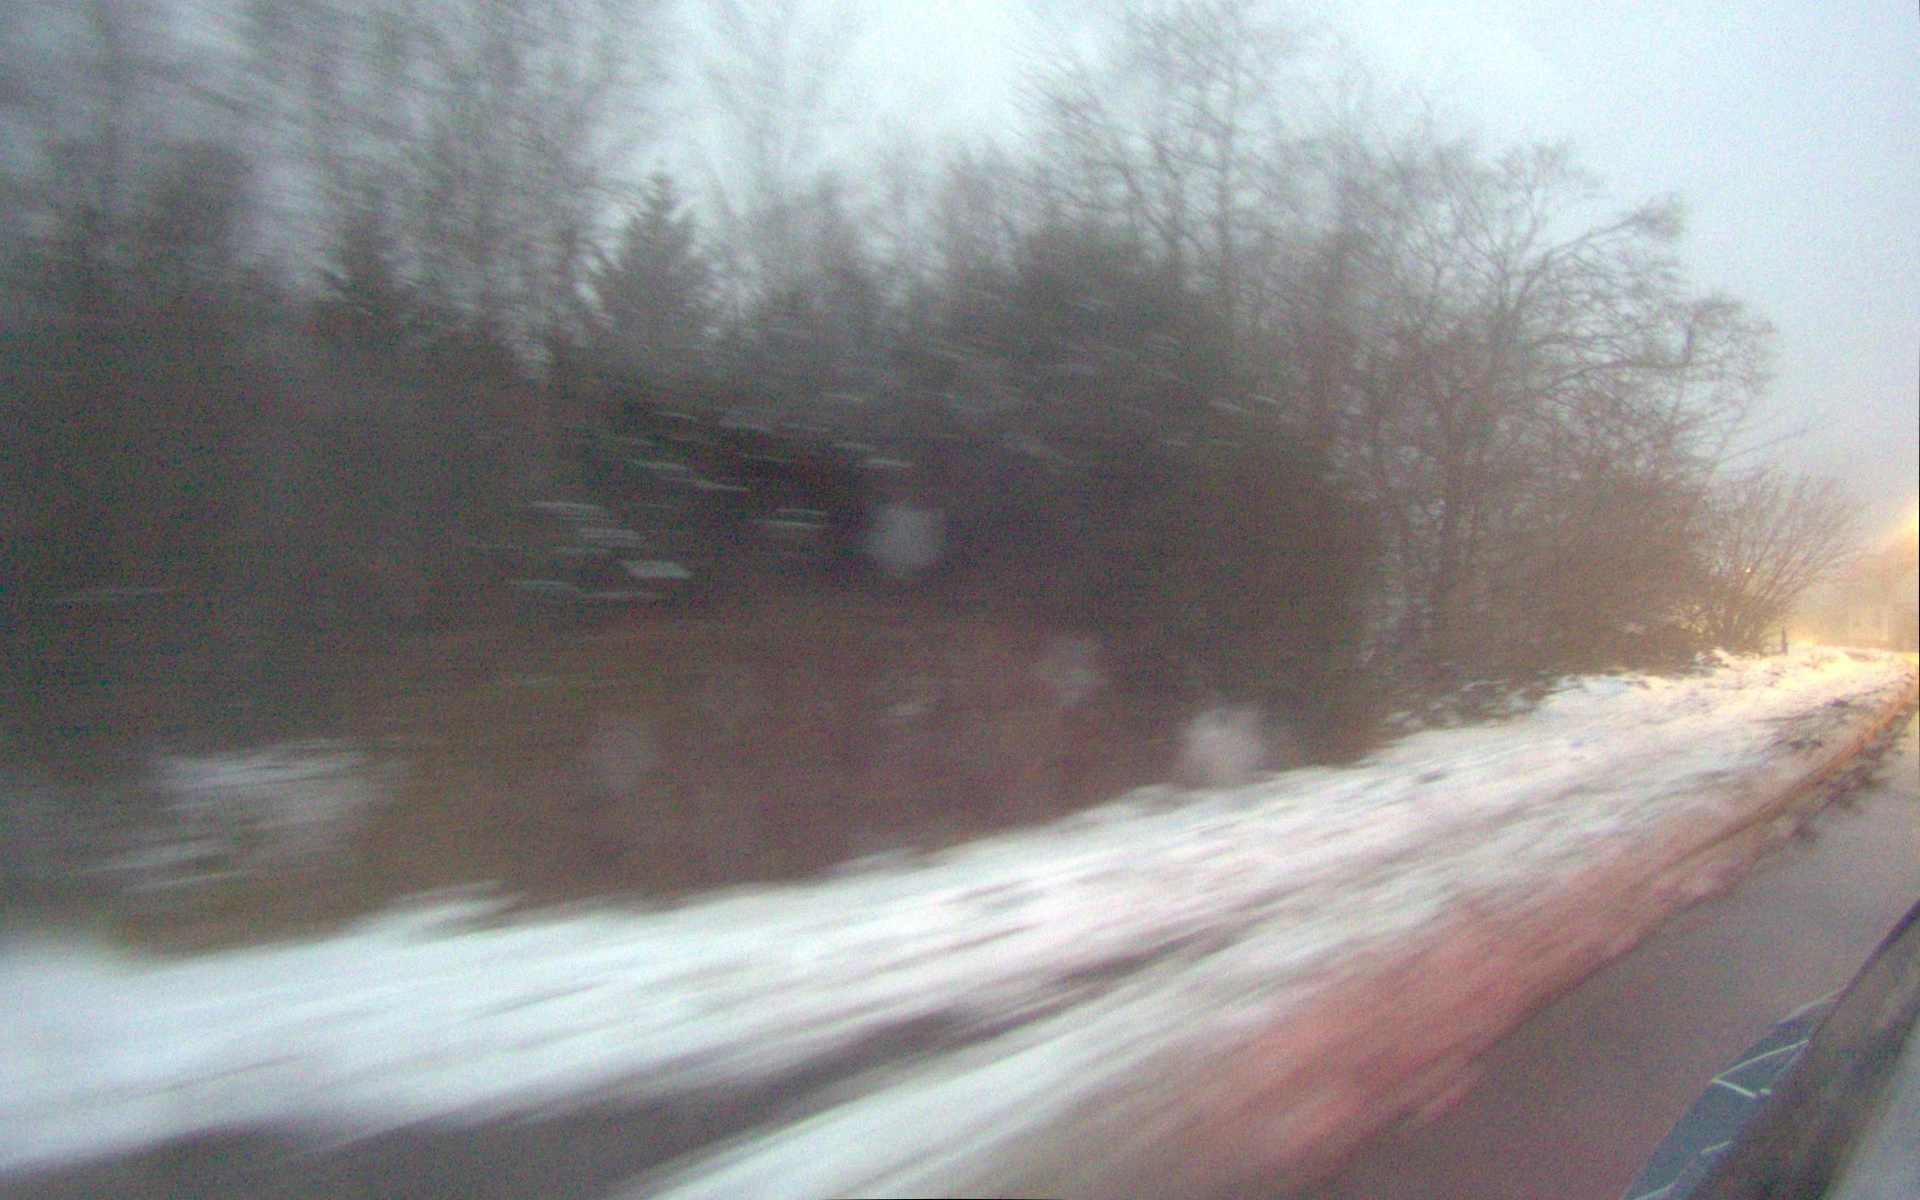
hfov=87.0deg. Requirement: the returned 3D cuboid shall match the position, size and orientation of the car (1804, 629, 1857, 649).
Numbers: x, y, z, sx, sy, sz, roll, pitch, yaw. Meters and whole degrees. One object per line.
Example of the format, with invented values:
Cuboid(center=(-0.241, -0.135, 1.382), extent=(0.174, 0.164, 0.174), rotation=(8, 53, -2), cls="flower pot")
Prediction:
Cuboid(center=(68.532, 3.092, 79.738), extent=(1.864, 1.445, 5.339), rotation=(-1, -4, 27), cls="car")
